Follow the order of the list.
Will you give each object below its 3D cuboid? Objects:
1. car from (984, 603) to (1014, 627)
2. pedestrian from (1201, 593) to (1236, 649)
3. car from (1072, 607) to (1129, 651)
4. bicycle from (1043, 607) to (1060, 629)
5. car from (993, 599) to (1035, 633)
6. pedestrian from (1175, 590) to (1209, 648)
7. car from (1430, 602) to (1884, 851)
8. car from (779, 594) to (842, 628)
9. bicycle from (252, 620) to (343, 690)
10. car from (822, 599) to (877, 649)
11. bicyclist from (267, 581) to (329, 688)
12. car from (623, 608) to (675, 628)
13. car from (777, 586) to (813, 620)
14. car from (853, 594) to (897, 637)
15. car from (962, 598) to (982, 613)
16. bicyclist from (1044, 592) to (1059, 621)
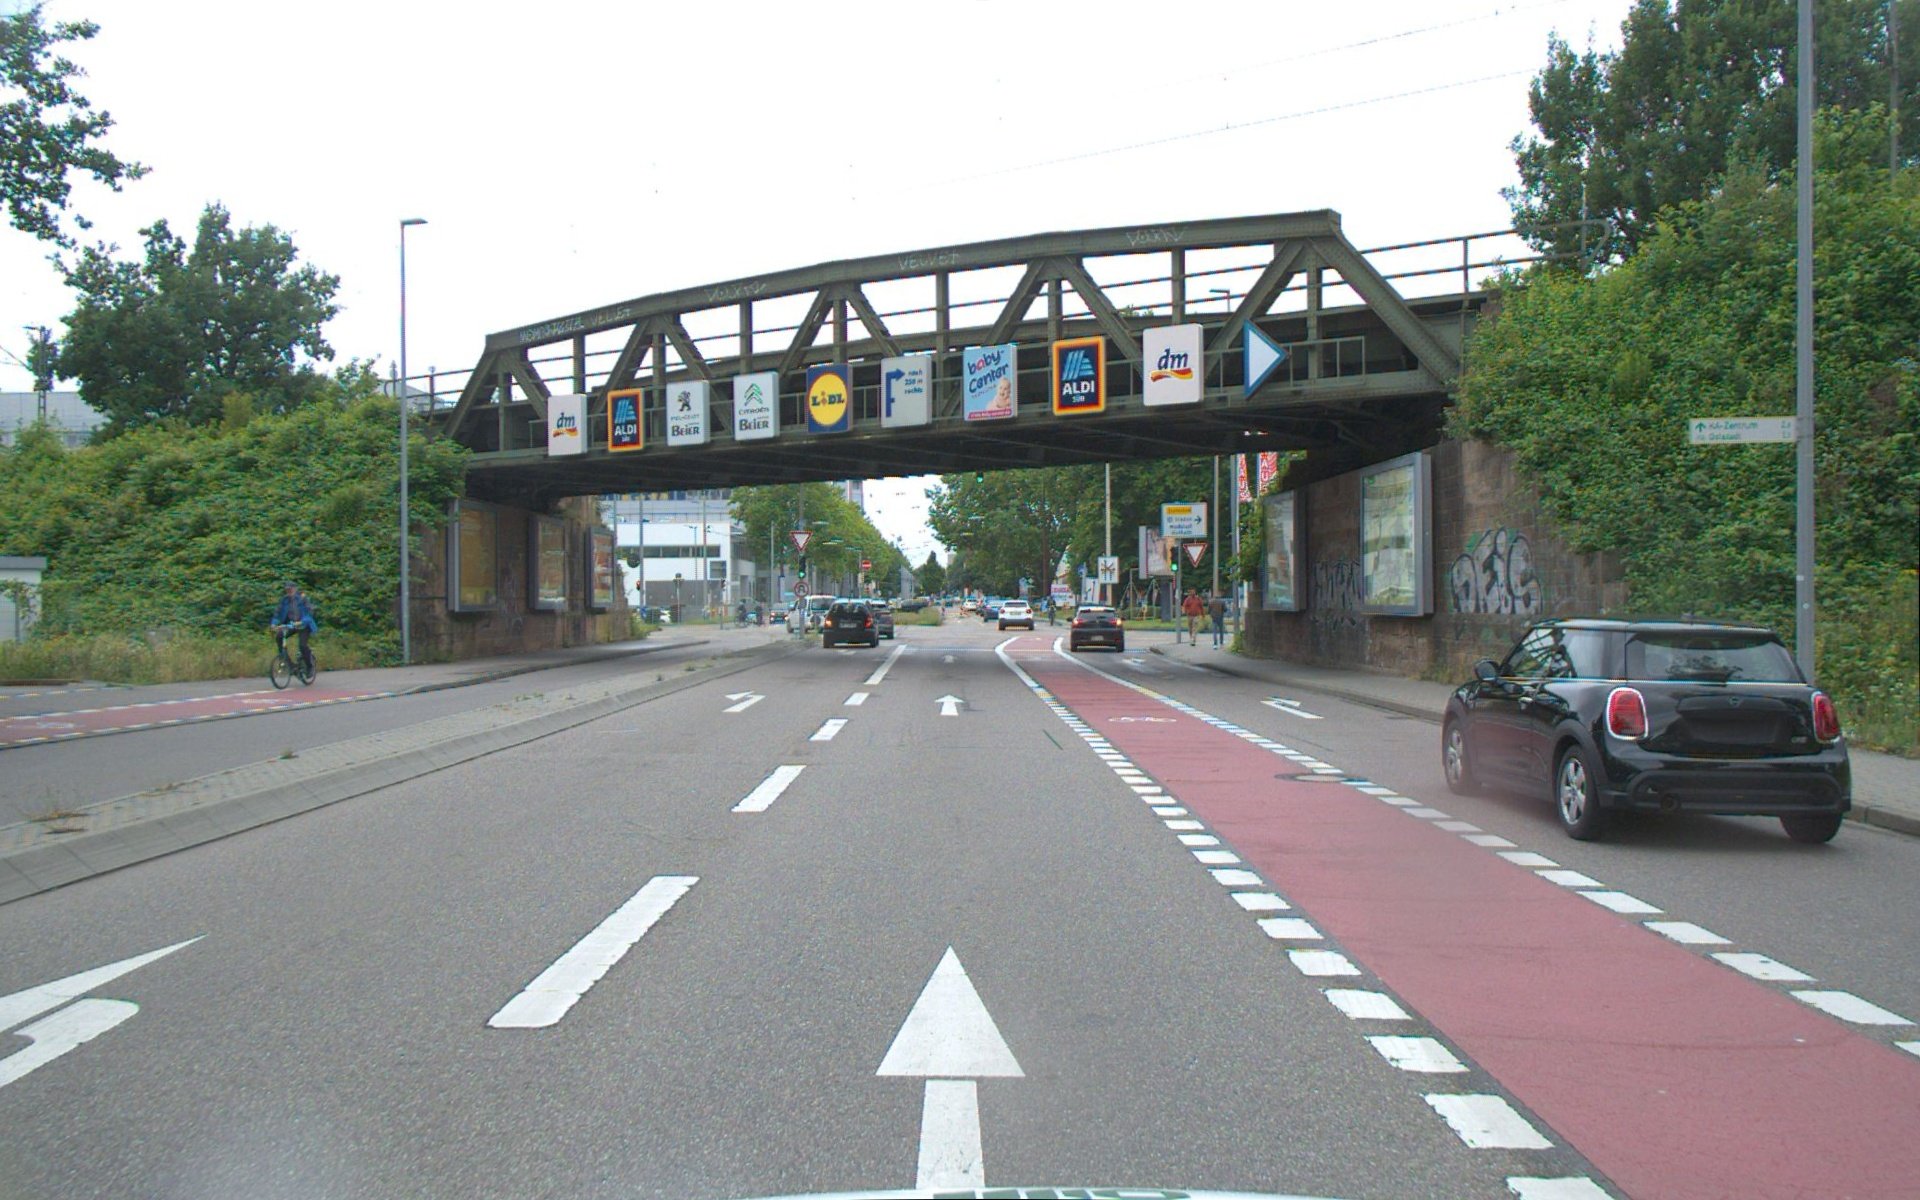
[{"bbox_3d":[2.627,0.971,111.379,1.651,1.540,3.703,1,0,-4],"label":"car"},{"bbox_3d":[7.809,0.633,49.922,0.730,1.669,0.775,-1,0,40],"label":"pedestrian"},{"bbox_3d":[4.432,0.891,52.494,1.613,1.303,3.420,1,0,2],"label":"car"},{"bbox_3d":[5.387,1.031,97.206,0.800,1.234,2.682,-1,0,-1],"label":"bicycle"},{"bbox_3d":[2.719,0.807,84.441,1.787,1.628,3.773,1,0,-4],"label":"car"},{"bbox_3d":[7.291,0.585,52.045,0.855,1.790,0.786,-1,0,-9],"label":"pedestrian"},{"bbox_3d":[4.742,0.766,11.858,1.645,1.456,3.774,1,0,0],"label":"car"},{"bbox_3d":[-7.409,0.523,81.461,1.932,1.554,4.983,0,0,-19],"label":"car"},{"bbox_3d":[-12.121,0.982,30.332,0.698,1.207,2.370,1,-1,-1],"label":"bicycle"},{"bbox_3d":[-3.672,0.767,55.018,1.733,1.554,3.666,1,0,-4],"label":"car"},{"bbox_3d":[-12.111,0.624,30.270,0.687,1.907,1.020,1,-1,-1],"label":"bicyclist"},{"bbox_3d":[-28.623,1.640,152.458,4.437,1.662,1.911,-1,0,-4],"label":"car"},{"bbox_3d":[-14.331,0.252,143.913,2.280,2.875,5.951,-1,0,2],"label":"car"},{"bbox_3d":[-3.505,0.609,68.051,1.738,1.681,3.666,1,0,-4],"label":"car"},{"bbox_3d":[1.257,0.621,175.752,1.760,1.540,3.703,1,0,-4],"label":"car"},{"bbox_3d":[5.372,0.373,97.207,0.800,1.659,1.235,-1,0,-1],"label":"bicyclist"}]
